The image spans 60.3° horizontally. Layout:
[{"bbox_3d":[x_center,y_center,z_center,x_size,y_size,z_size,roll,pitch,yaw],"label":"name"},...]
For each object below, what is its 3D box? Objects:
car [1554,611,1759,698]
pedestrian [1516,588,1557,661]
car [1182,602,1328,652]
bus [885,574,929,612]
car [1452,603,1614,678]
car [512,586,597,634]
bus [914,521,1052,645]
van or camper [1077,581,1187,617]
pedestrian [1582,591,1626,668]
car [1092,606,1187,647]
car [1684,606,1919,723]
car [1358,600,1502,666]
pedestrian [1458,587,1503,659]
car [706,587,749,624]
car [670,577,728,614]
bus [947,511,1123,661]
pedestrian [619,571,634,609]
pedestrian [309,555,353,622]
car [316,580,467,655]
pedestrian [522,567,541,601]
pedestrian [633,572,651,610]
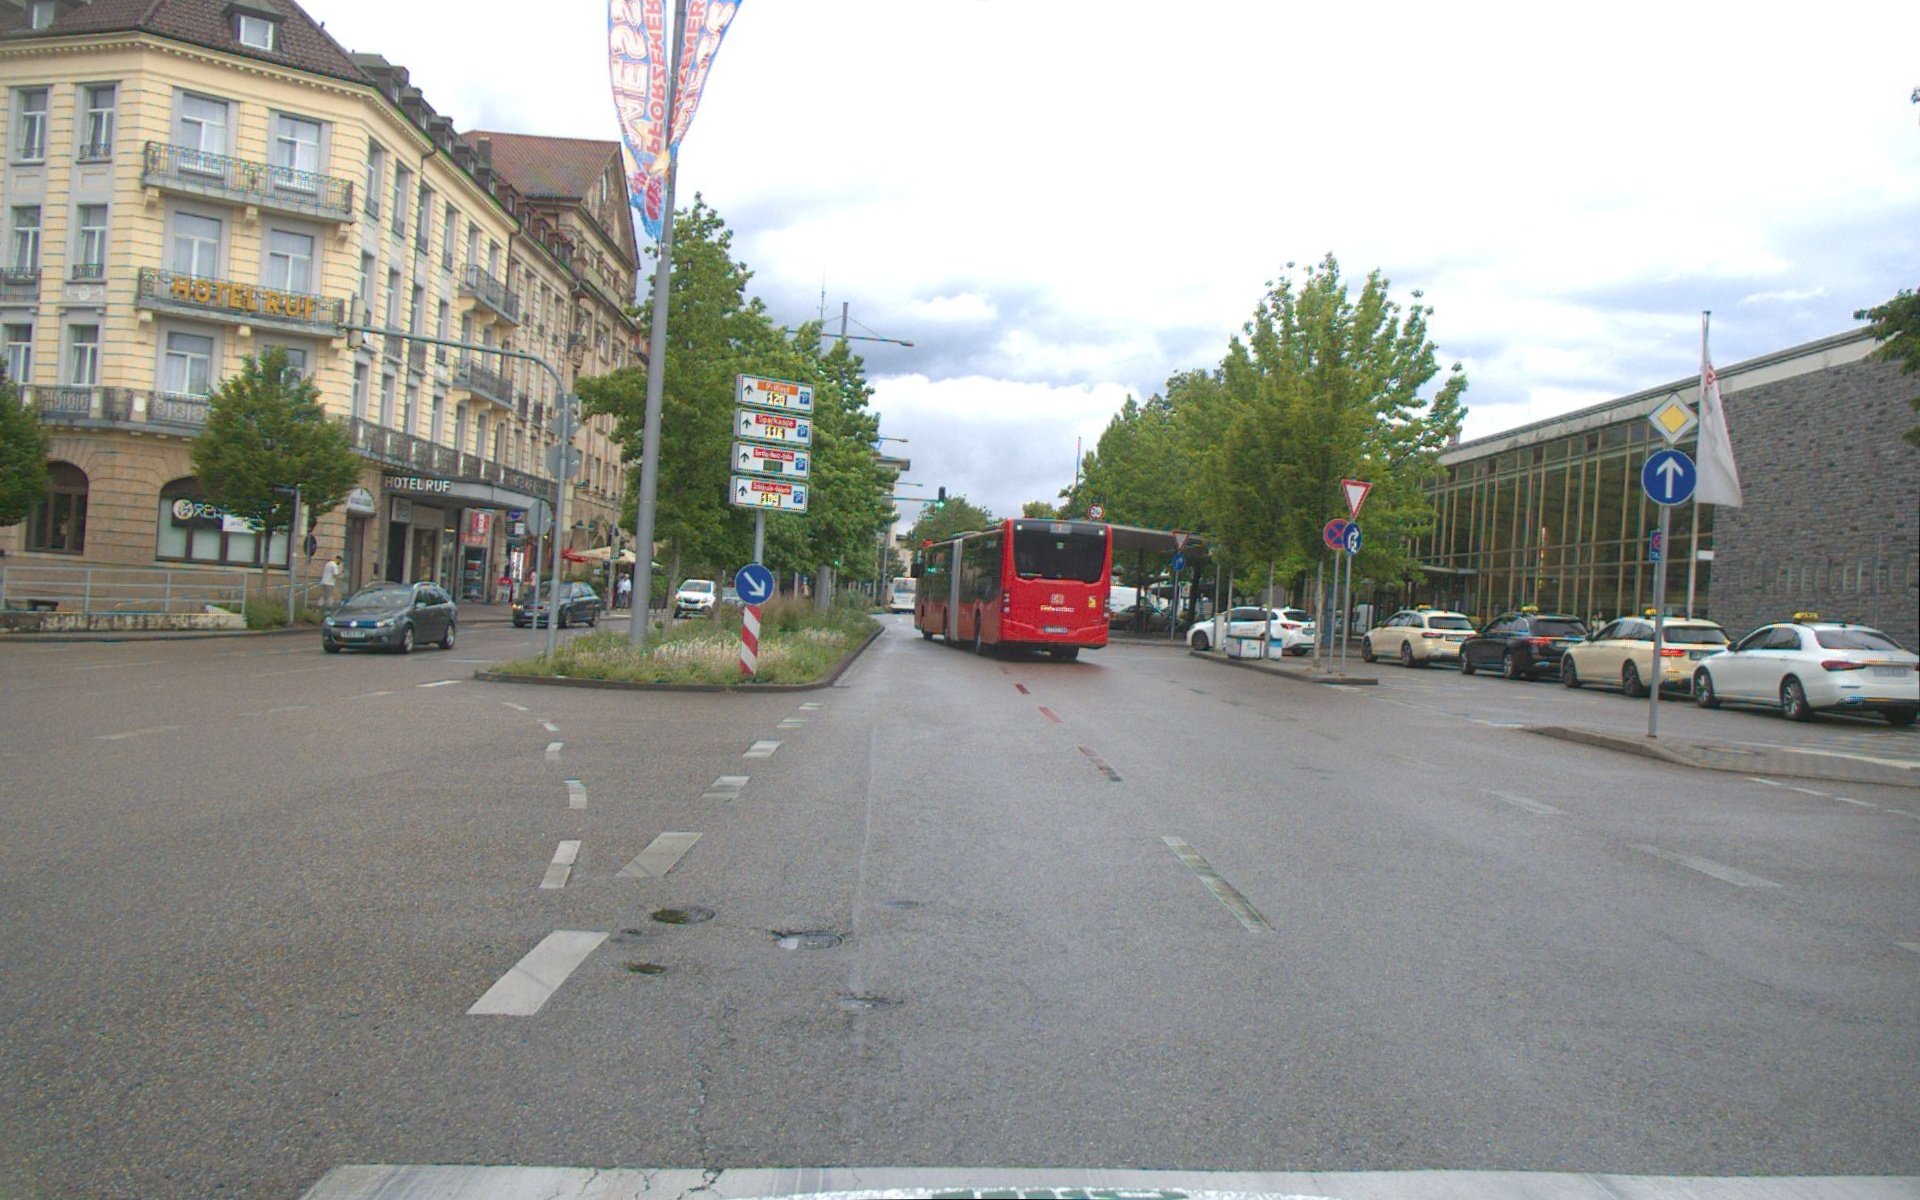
[{"bbox_3d":[13.241,0.988,31.774,1.809,1.477,4.664,1,0,-2],"label":"car"},{"bbox_3d":[16.656,0.704,47.809,0.795,2.049,0.921,2,0,0],"label":"pedestrian"},{"bbox_3d":[9.093,0.811,51.187,1.764,1.409,4.303,1,0,-41],"label":"car"},{"bbox_3d":[-5.092,-0.664,155.766,3.686,3.265,15.515,1,0,-3],"label":"bus"},{"bbox_3d":[13.051,0.883,37.995,1.875,1.551,4.740,1,0,-3],"label":"car"},{"bbox_3d":[-12.913,0.294,52.894,1.719,1.393,4.059,2,1,-1],"label":"car"},{"bbox_3d":[0.473,-0.472,48.976,2.691,3.229,10.179,1,0,-7],"label":"bus"},{"bbox_3d":[10.784,-0.050,103.690,6.675,2.049,2.364,1,-1,-27],"label":"van or camper"},{"bbox_3d":[17.641,0.798,45.326,0.795,2.049,0.921,2,0,-2],"label":"pedestrian"},{"bbox_3d":[8.944,1.304,82.390,4.273,1.890,1.988,2,0,-21],"label":"car"},{"bbox_3d":[13.370,0.945,26.058,1.739,1.617,4.614,1,0,-2],"label":"car"},{"bbox_3d":[12.550,0.849,44.472,1.956,1.628,4.814,1,0,-8],"label":"car"},{"bbox_3d":[15.011,0.658,47.724,0.801,2.049,0.914,2,0,-25],"label":"pedestrian"},{"bbox_3d":[-12.016,0.279,85.650,1.955,1.789,3.995,2,0,-6],"label":"car"},{"bbox_3d":[-11.344,-0.226,72.100,1.718,1.393,4.062,2,2,2],"label":"car"},{"bbox_3d":[1.630,-0.327,40.319,2.692,3.229,8.104,1,0,-9],"label":"bus"},{"bbox_3d":[-15.416,-0.467,76.439,0.563,1.762,0.609,2,0,-1],"label":"pedestrian"},{"bbox_3d":[-18.573,-0.338,48.867,0.845,1.911,1.022,2,0,-1],"label":"pedestrian"},{"bbox_3d":[-12.191,0.330,35.742,1.718,1.466,4.061,2,1,2],"label":"car"},{"bbox_3d":[-19.236,-0.726,74.308,0.656,1.537,0.512,2,0,-39],"label":"pedestrian"},{"bbox_3d":[-14.687,-0.432,76.459,0.661,1.731,0.633,2,0,-1],"label":"pedestrian"}]
